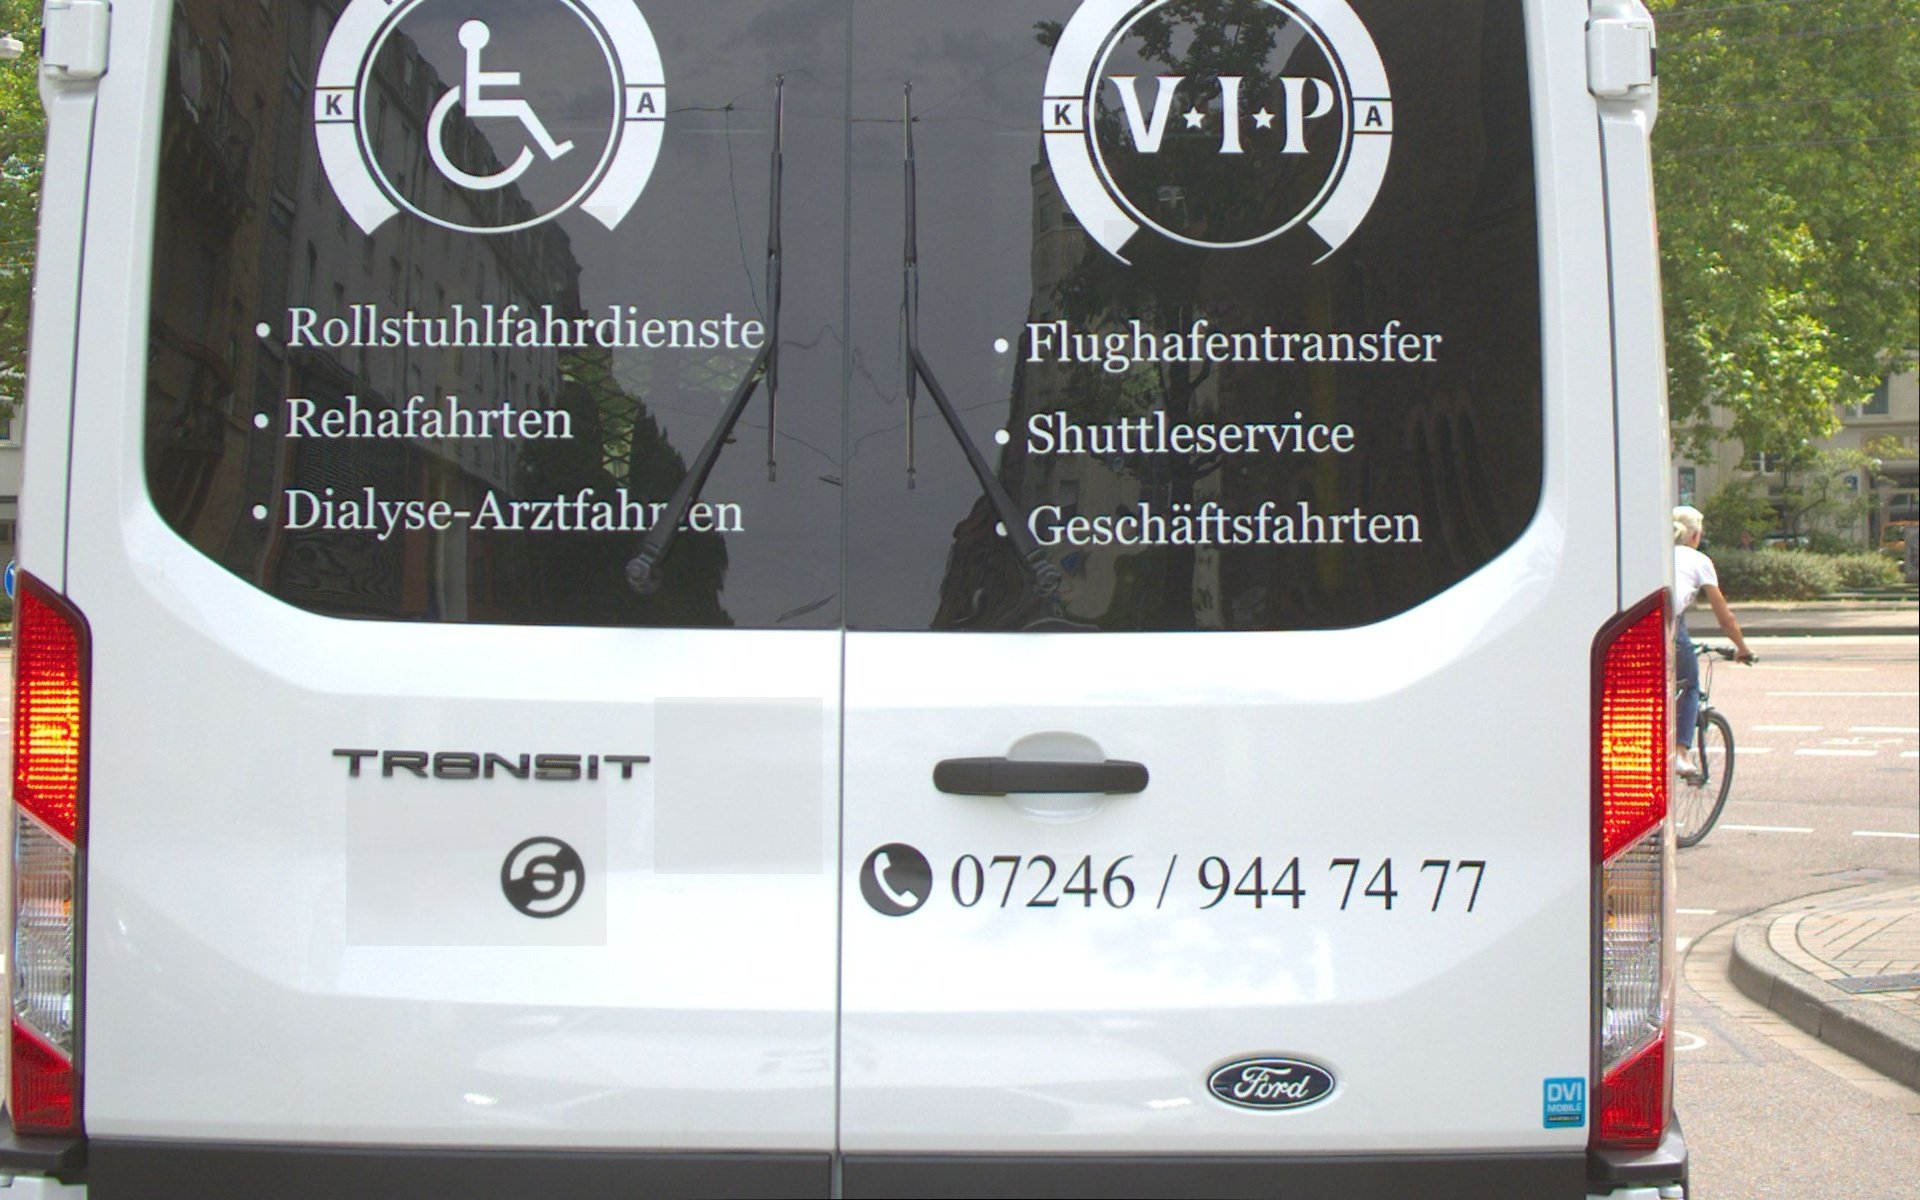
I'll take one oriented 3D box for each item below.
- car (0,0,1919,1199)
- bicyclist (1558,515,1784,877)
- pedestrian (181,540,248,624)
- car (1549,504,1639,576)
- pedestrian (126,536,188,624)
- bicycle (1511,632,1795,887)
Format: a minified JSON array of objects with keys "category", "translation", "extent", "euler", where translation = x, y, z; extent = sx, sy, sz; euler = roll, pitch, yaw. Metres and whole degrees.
[{"category":"car","translation":[-0.205,0.048,5.768],"extent":[2.181,2.638,4.629],"euler":[2,2,-2]},{"category":"bicyclist","translation":[3.414,0.436,16.482],"extent":[0.905,1.677,0.756],"euler":[0,1,25]},{"category":"pedestrian","translation":[-13.486,-0.330,62.211],"extent":[0.930,1.509,0.723],"euler":[0,1,16]},{"category":"car","translation":[17.417,-1.663,94.574],"extent":[1.994,1.924,4.000],"euler":[-1,1,4]},{"category":"pedestrian","translation":[-14.502,-0.369,62.092],"extent":[0.807,1.567,0.723],"euler":[0,1,16]},{"category":"bicycle","translation":[3.347,0.725,16.461],"extent":[0.904,1.071,1.967],"euler":[0,1,25]}]
